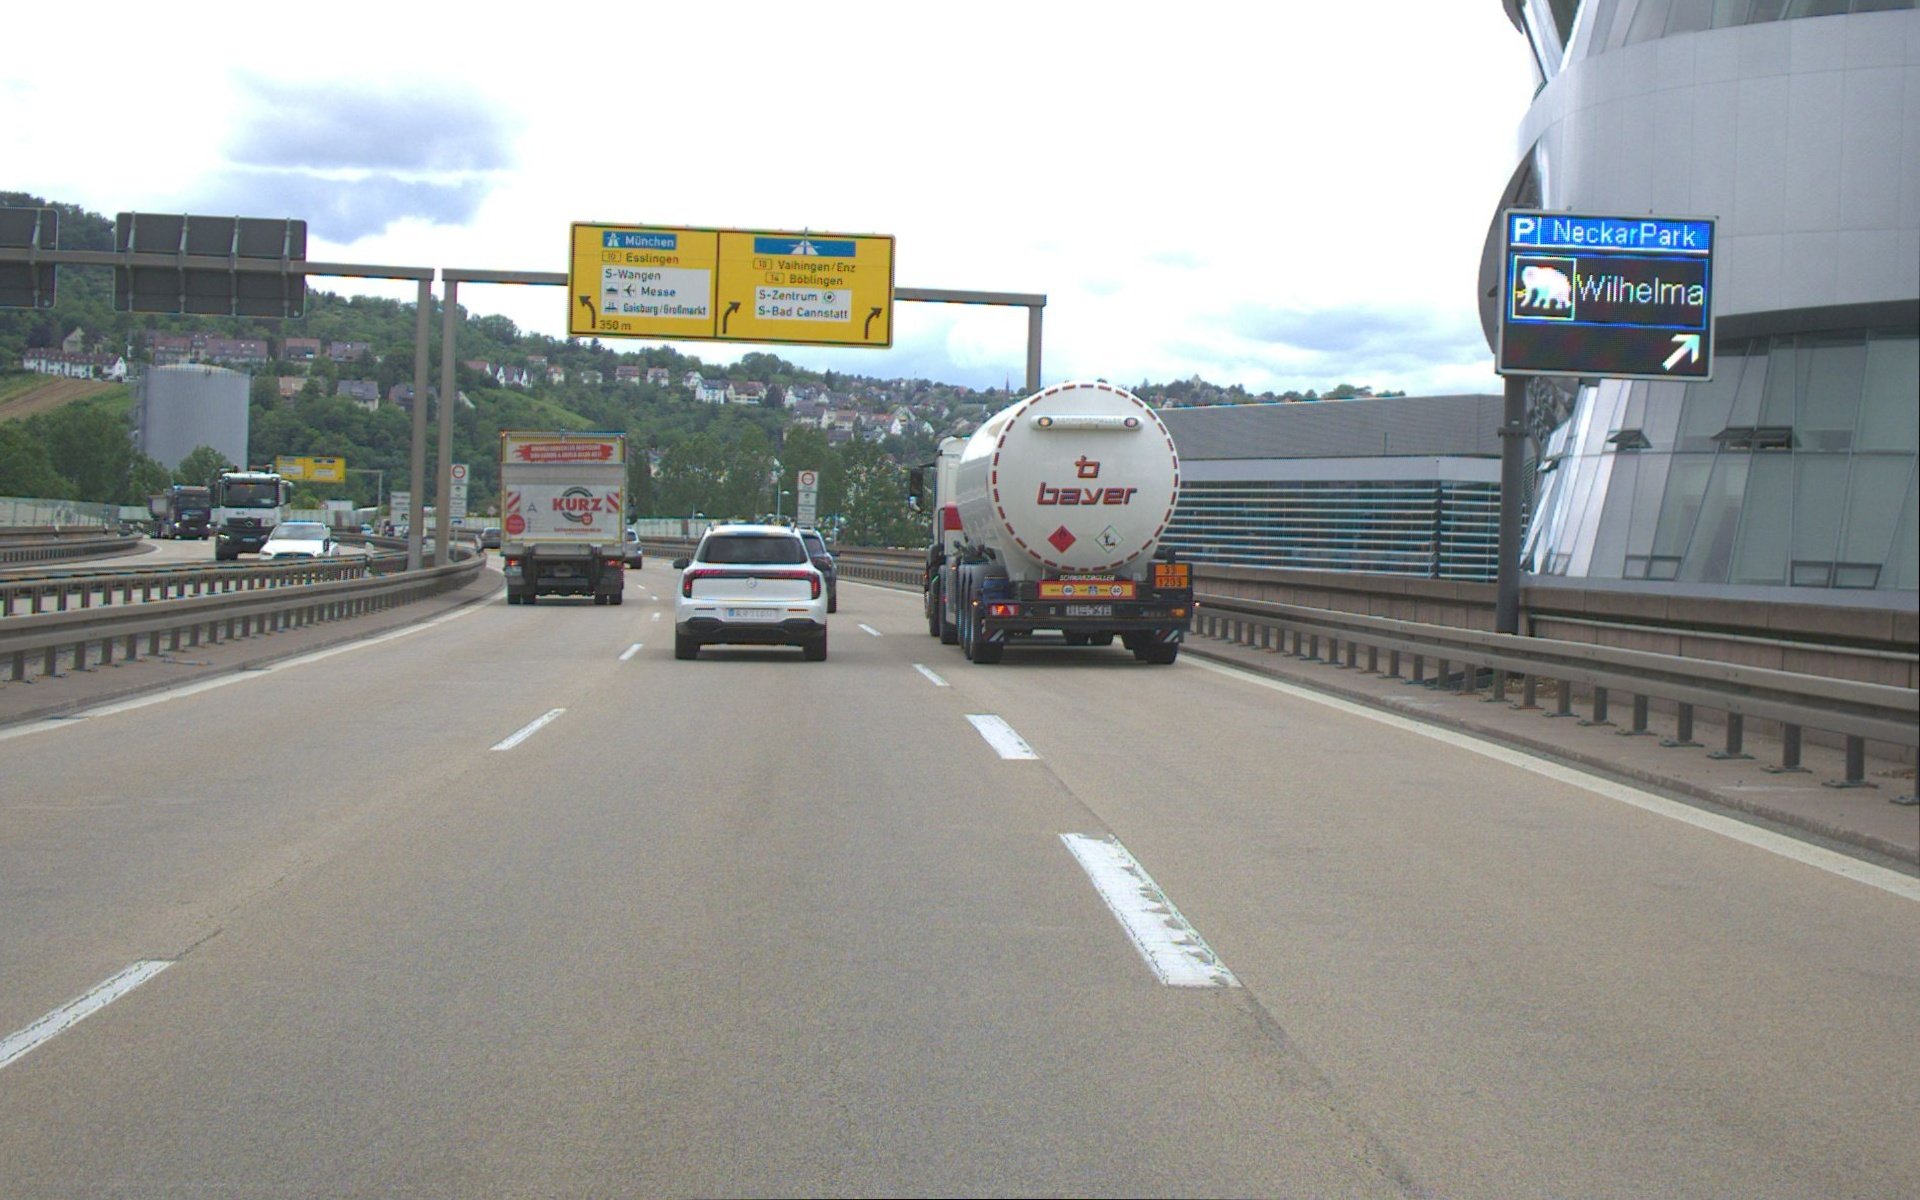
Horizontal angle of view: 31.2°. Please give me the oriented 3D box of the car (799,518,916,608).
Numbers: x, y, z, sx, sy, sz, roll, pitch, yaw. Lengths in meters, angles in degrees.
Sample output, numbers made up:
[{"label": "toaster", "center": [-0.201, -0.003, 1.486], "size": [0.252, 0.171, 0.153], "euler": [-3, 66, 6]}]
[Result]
[{"label": "car", "center": [-2.055, -0.727, 67.589], "size": [1.993, 1.669, 4.409], "euler": [1, 1, -5]}]

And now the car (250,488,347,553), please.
[{"label": "car", "center": [-17.294, -2.062, 90.023], "size": [1.993, 1.601, 4.808], "euler": [1, 1, -5]}]

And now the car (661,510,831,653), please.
[{"label": "car", "center": [-2.643, -0.247, 43.314], "size": [1.993, 1.669, 4.408], "euler": [1, 1, -2]}]

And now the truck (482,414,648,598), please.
[{"label": "truck", "center": [-8.383, -1.967, 73.852], "size": [3.056, 3.678, 8.305], "euler": [1, 1, -4]}]

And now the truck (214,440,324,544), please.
[{"label": "truck", "center": [-26.575, -4.071, 132.765], "size": [3.056, 3.763, 12.521], "euler": [1, 1, -7]}]

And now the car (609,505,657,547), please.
[{"label": "car", "center": [-13.610, -3.072, 143.241], "size": [1.683, 1.644, 4.360], "euler": [2, 1, -2]}]

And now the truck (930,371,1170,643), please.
[{"label": "truck", "center": [1.197, -1.305, 49.833], "size": [3.014, 3.644, 6.274], "euler": [1, 1, -2]}]

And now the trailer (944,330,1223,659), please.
[{"label": "trailer", "center": [1.418, -1.280, 44.106], "size": [3.057, 3.777, 8.304], "euler": [1, 1, -1]}]
